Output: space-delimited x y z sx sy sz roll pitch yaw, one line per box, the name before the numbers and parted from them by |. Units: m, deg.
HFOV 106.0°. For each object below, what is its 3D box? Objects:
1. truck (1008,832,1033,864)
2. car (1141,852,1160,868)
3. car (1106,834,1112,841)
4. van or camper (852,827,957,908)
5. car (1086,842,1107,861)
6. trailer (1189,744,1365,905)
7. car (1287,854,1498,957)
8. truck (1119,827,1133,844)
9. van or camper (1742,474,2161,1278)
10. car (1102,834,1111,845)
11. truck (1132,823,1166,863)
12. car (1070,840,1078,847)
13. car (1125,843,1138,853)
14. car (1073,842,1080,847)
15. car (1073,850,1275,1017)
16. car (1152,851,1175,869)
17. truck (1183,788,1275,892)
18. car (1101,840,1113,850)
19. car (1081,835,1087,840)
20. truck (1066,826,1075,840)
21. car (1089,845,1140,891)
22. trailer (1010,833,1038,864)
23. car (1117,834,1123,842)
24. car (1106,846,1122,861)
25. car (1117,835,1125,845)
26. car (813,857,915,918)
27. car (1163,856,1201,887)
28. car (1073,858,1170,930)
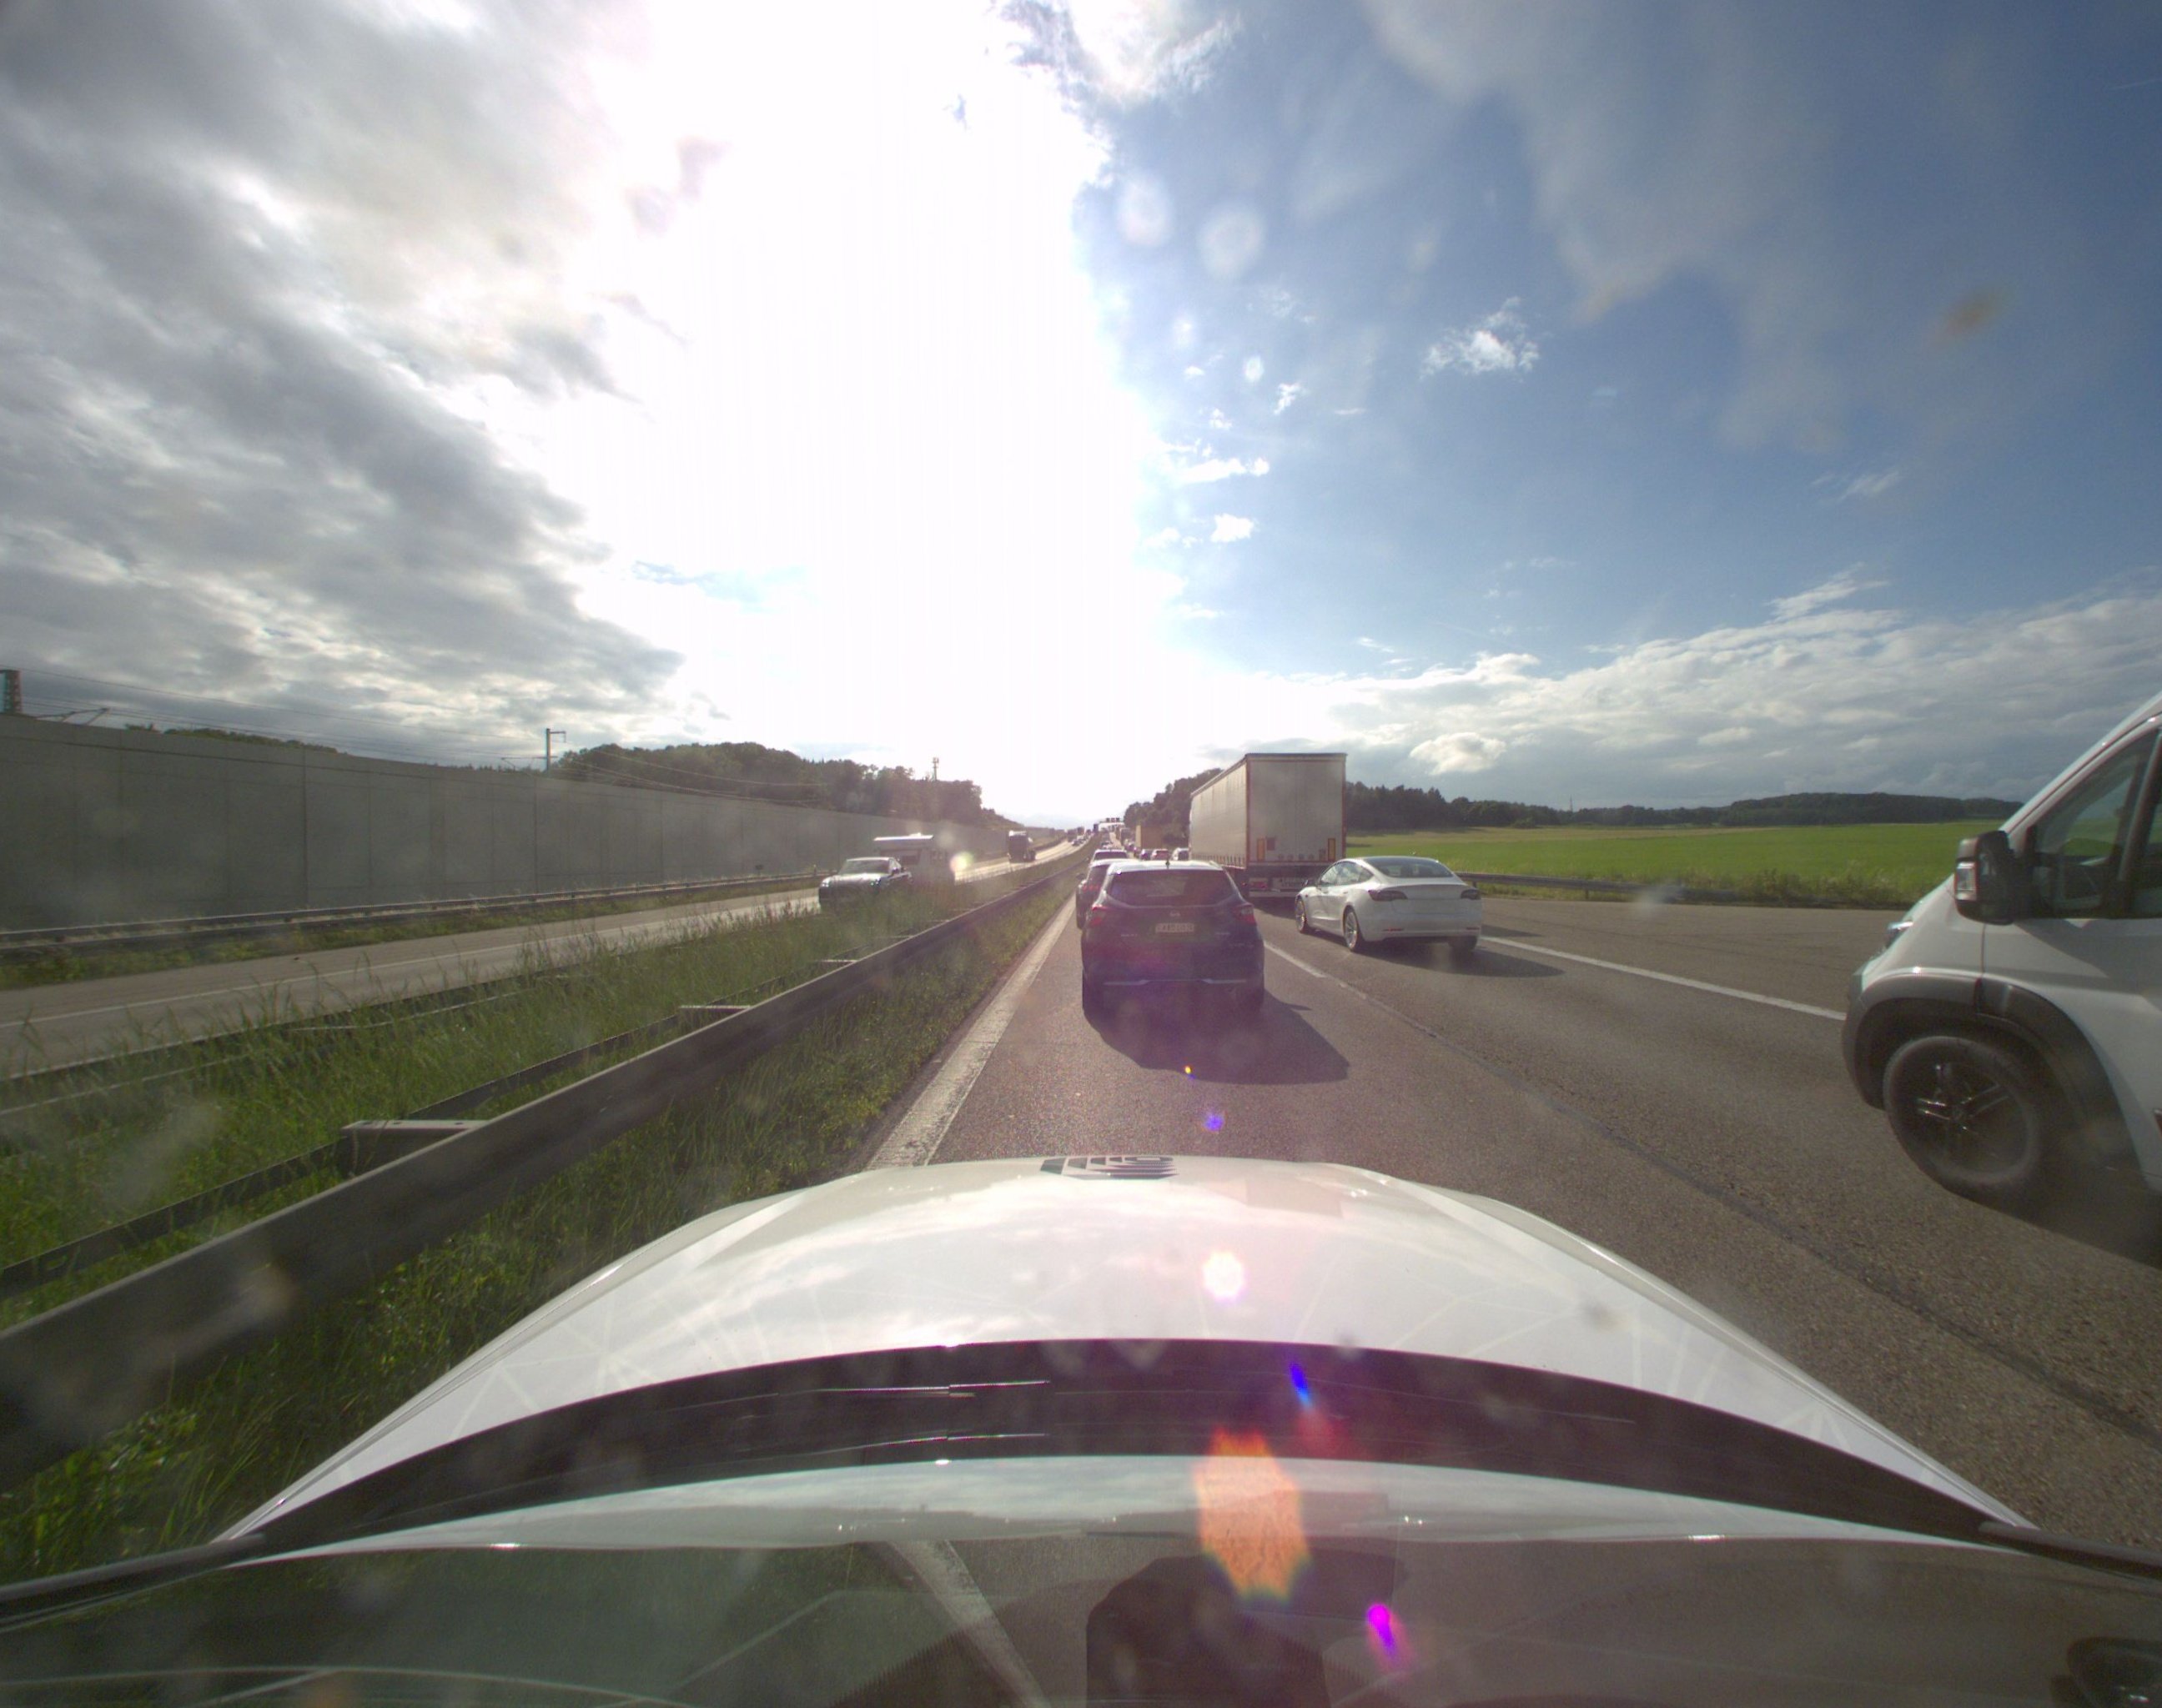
truck | -7.897 -0.749 106.446 2.573 3.923 5.724 -2 0 2
car | 7.413 0.635 87.225 1.866 1.644 4.234 -1 0 2
car | 8.620 -5.192 252.159 1.866 2.158 5.214 -1 3 2
van or camper | -6.538 0.462 31.223 2.244 2.704 7.172 -1 0 1
car | 1.533 -0.266 78.684 1.866 1.644 4.234 -1 1 2
trailer | 5.790 -0.623 27.096 3.118 4.011 13.373 -1 -1 2
car | 4.893 0.711 13.525 1.783 1.394 4.436 -1 0 0
truck | 12.488 -4.994 225.896 3.452 4.576 12.442 0 1 1
van or camper | 4.672 0.051 1.265 2.207 2.681 6.334 -1 0 1
car | 5.666 -3.247 182.097 1.866 2.158 5.214 -1 3 2
truck | 8.253 -1.174 100.710 3.286 4.577 12.440 0 -1 1
car | -1.858 -2.744 207.388 1.774 1.737 4.104 -1 0 2
car | 8.901 -1.059 143.151 1.868 1.644 4.230 -1 1 -1
car | -1.266 -2.654 229.731 1.691 1.499 4.428 -1 0 1
car | 0.906 0.720 9.401 1.766 1.451 4.234 -1 0 2
car | 7.845 0.530 77.882 1.866 1.644 4.234 -1 1 2
truck | 6.105 -0.512 34.475 3.121 4.016 5.166 -1 -1 2
car | 4.446 -1.507 138.503 1.867 1.644 4.233 -1 1 1
car | 0.867 -5.204 258.865 1.762 1.479 3.831 -2 -1 2
truck | -3.186 -6.431 254.970 2.371 4.181 5.934 -2 0 2
car | 1.307 0.533 32.236 1.866 1.644 4.234 -1 0 2
trailer | -7.740 -0.730 111.589 2.579 3.902 10.867 -2 0 1
car | 12.223 -5.073 255.337 1.866 2.158 5.214 -1 3 2
car | 4.011 -0.070 98.064 1.866 1.644 4.235 -1 1 2
car | 9.896 -3.472 200.003 1.866 2.158 5.214 -1 3 2
car | -6.644 0.964 25.420 1.903 1.671 4.363 -1 0 1
car | 5.466 0.923 44.524 1.690 1.610 4.440 -1 0 3
car | 0.860 0.780 17.946 1.866 1.358 4.234 -1 0 2
